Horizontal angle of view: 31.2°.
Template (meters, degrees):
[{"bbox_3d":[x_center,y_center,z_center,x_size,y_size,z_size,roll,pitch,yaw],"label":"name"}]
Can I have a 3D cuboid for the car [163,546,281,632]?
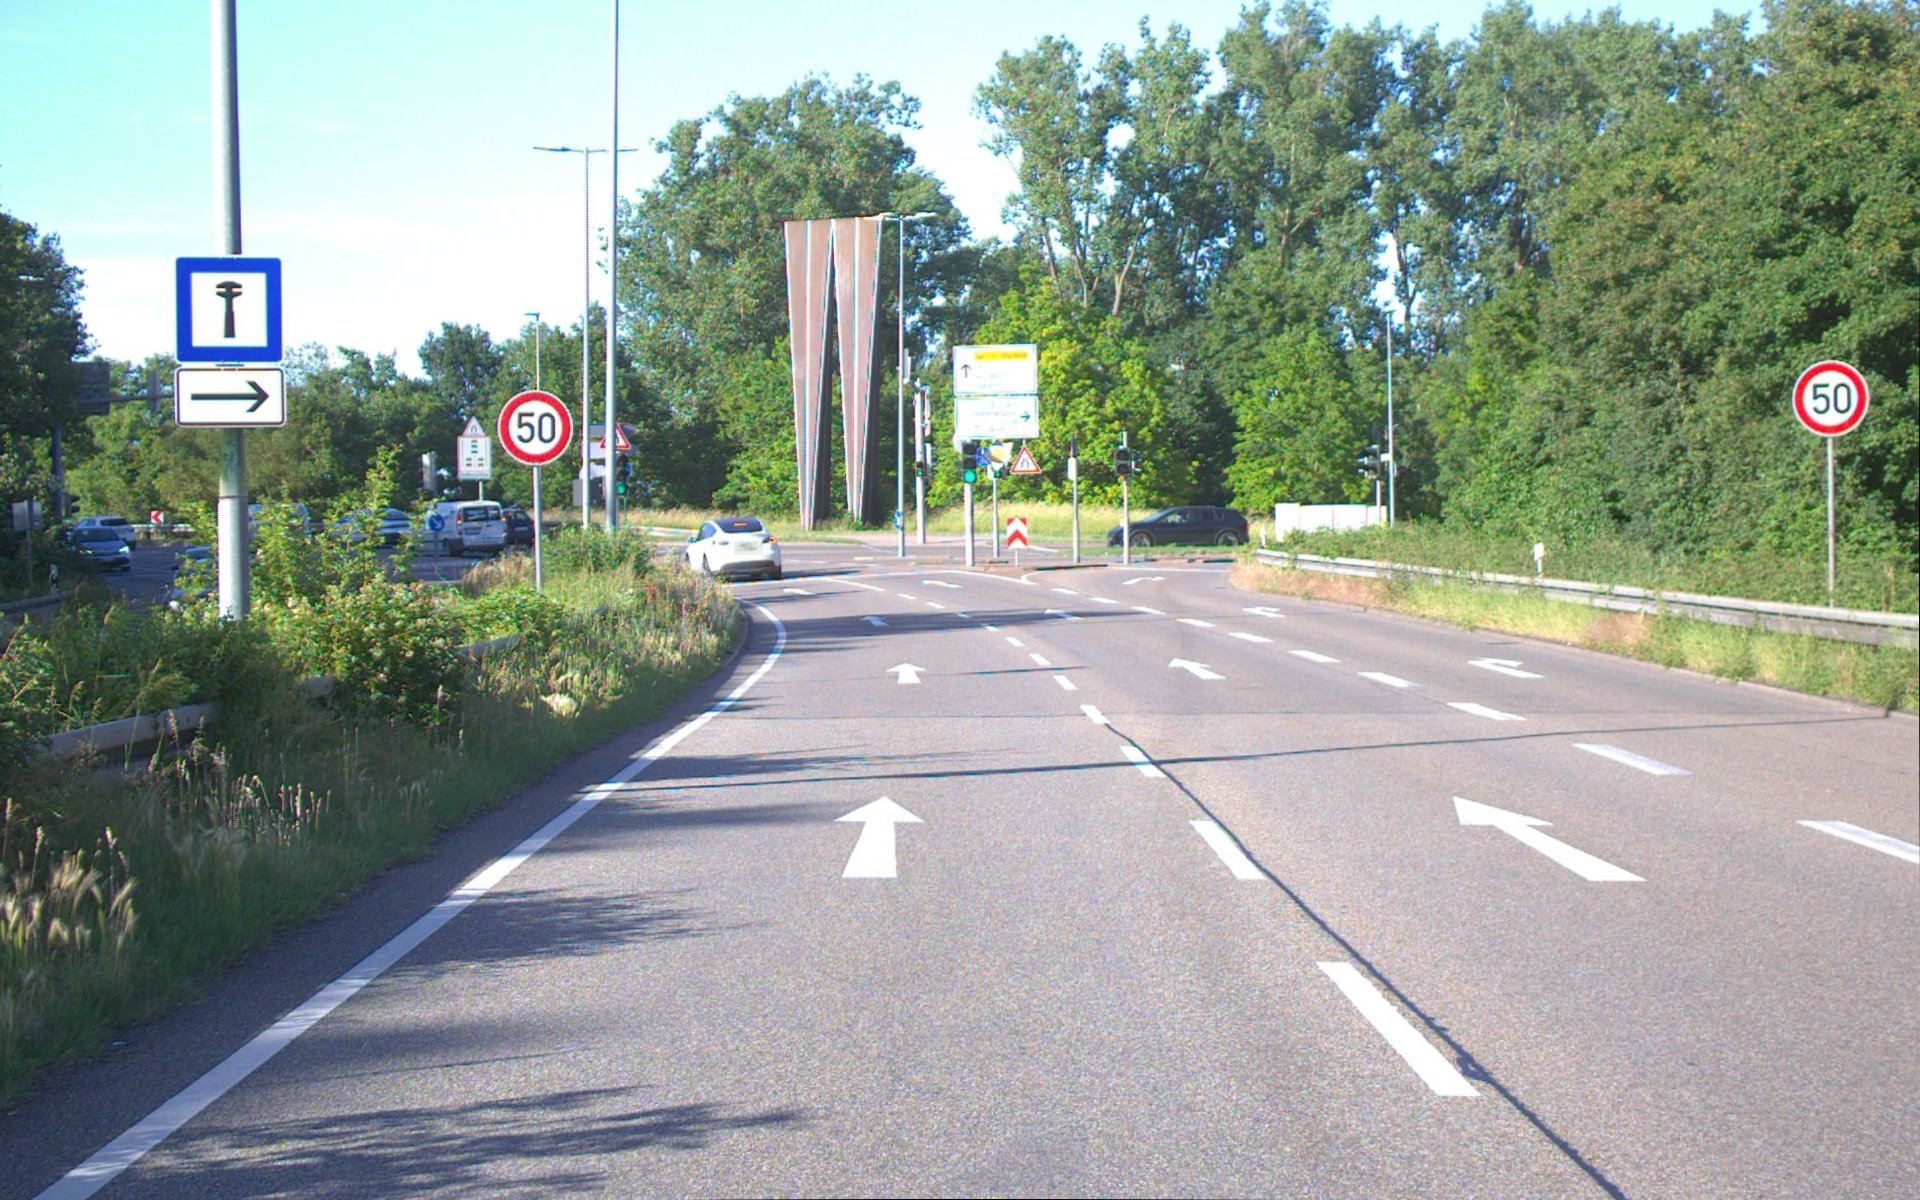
[{"bbox_3d":[-13.225,-0.231,61.824,1.804,1.412,4.533,-2,1,-9],"label":"car"}]

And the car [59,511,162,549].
[{"bbox_3d":[-34.700,-2.857,140.370,3.997,1.503,2.268,0,2,44],"label":"car"}]

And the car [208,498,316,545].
[{"bbox_3d":[-26.026,-2.942,128.144,3.997,1.692,1.970,1,3,43],"label":"car"}]

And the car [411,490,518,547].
[{"bbox_3d":[-16.737,-2.752,116.043,1.994,1.873,4.249,-2,2,-32],"label":"car"}]

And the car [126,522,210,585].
[{"bbox_3d":[-19.459,-1.143,84.385,1.885,1.415,4.366,-3,2,-14],"label":"car"}]

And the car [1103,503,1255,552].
[{"bbox_3d":[6.923,-2.301,108.705,4.457,1.459,2.001,-1,2,-9],"label":"car"}]

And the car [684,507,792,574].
[{"bbox_3d":[-5.763,-1.549,88.802,1.993,1.634,4.129,-2,2,-15],"label":"car"}]
